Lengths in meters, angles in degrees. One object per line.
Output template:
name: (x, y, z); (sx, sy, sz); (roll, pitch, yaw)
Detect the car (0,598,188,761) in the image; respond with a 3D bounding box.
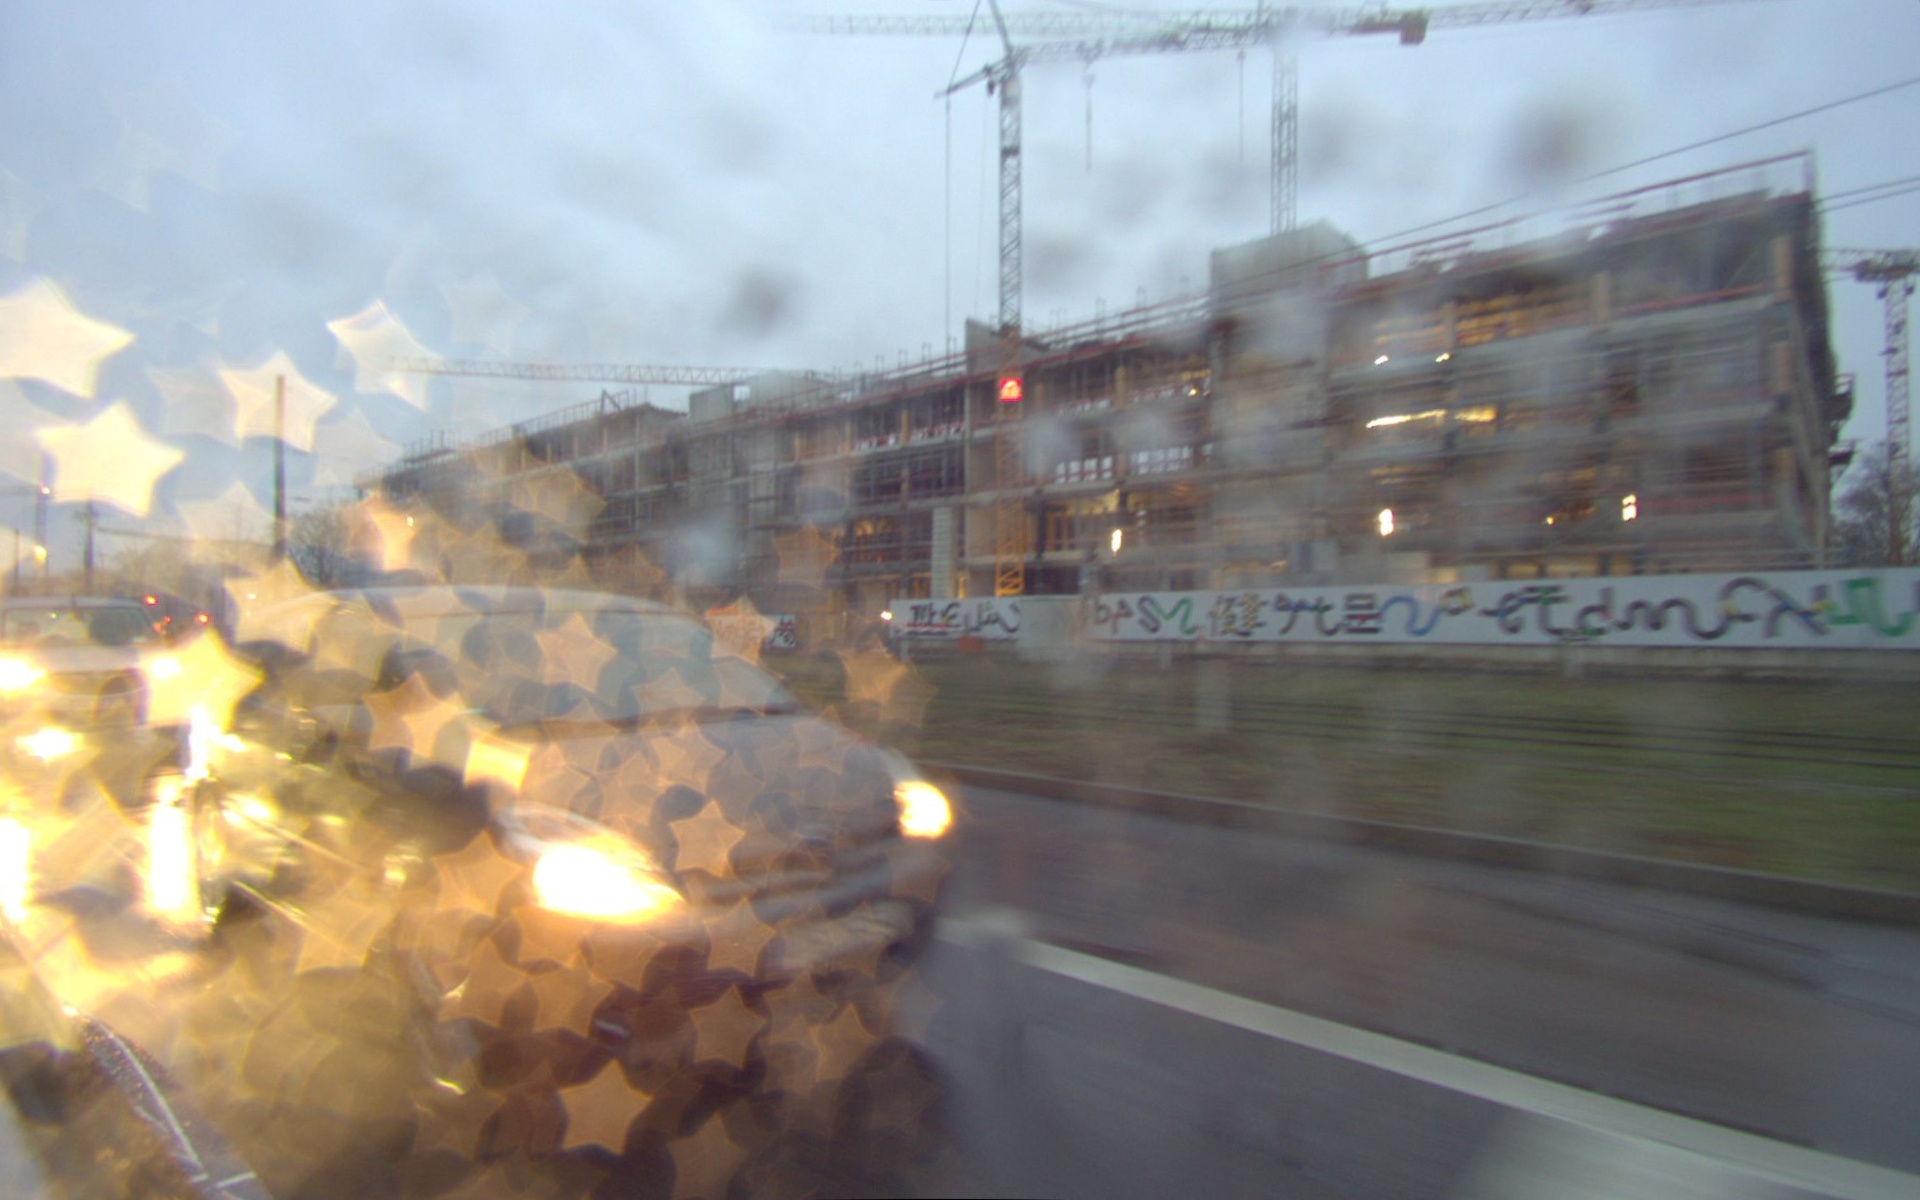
car: (-11.304, 0.878, 12.758); (4.000, 1.746, 1.833); (-1, 0, 43)

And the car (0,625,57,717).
car: (-19.298, 1.346, 19.893); (4.322, 1.666, 1.820); (-1, 0, 42)

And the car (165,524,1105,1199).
car: (-1.596, 0.676, 3.995); (3.998, 1.606, 1.741); (-1, 0, 42)
